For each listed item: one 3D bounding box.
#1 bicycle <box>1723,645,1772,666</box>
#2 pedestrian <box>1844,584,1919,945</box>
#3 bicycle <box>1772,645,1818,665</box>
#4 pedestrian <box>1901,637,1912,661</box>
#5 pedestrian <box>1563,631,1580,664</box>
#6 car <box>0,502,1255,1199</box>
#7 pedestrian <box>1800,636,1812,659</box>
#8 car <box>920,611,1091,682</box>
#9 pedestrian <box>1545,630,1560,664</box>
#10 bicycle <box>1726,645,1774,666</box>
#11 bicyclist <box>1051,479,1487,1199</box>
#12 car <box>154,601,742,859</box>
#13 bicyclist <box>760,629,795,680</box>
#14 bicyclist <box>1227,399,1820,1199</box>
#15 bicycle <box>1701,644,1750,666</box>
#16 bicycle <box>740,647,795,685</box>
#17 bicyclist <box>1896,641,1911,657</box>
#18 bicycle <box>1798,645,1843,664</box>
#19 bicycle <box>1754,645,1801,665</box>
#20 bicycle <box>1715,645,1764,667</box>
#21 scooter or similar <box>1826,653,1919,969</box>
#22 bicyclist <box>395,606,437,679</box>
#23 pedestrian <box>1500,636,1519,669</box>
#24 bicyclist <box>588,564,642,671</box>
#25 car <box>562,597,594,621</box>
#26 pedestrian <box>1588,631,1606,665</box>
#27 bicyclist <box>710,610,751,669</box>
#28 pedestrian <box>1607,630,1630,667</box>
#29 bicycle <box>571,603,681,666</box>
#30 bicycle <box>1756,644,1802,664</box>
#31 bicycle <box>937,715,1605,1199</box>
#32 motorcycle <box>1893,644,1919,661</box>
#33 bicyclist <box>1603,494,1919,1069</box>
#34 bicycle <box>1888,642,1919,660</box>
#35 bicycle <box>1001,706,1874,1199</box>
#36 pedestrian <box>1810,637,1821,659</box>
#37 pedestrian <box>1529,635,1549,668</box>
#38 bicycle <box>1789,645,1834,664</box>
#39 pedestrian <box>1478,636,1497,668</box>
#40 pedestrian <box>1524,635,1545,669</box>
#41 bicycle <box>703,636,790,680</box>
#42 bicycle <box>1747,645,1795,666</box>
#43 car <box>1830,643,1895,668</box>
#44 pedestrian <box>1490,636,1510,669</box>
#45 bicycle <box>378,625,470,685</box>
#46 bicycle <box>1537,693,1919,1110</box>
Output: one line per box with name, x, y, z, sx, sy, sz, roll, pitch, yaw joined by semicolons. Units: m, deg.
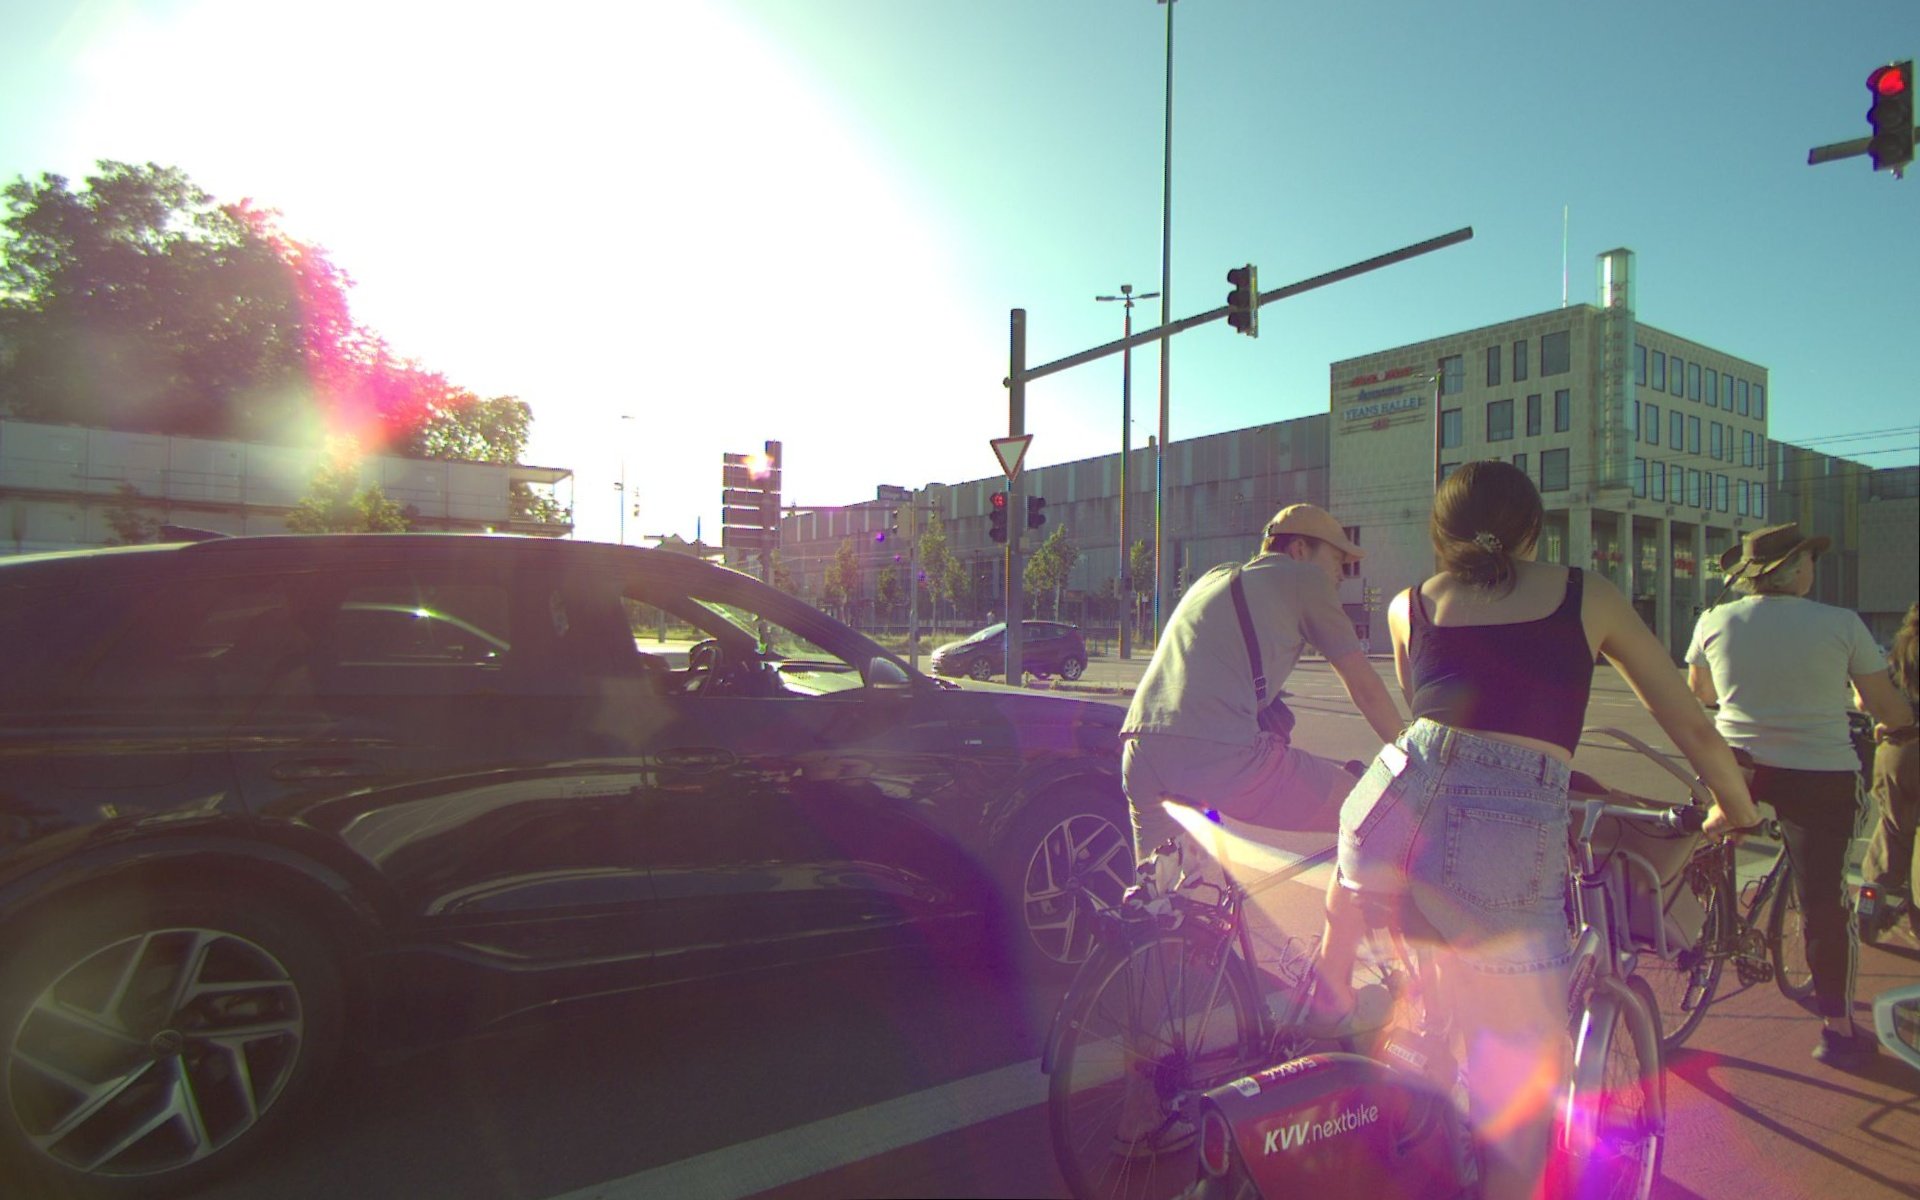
bicycle;48.044;3.372;61.333;0.605;1.238;2.295;1;-1;-31
pedestrian;4.633;0.764;4.800;0.568;1.654;0.543;2;0;-45
bicycle;55.516;3.627;66.825;0.605;1.238;2.295;1;-1;-31
pedestrian;71.094;3.678;75.452;0.579;1.702;0.516;1;1;-43
pedestrian;35.584;2.739;58.447;0.784;1.868;0.862;0;-1;32
car;-1.154;0.635;3.864;4.630;1.656;1.760;1;0;-32
pedestrian;65.323;3.674;77.585;0.610;1.702;0.565;1;0;-39
car;1.127;1.122;24.481;3.845;1.606;1.649;2;-2;-25
pedestrian;34.342;2.703;58.207;0.705;1.910;0.785;2;0;33
bicycle;48.694;3.395;61.955;0.605;1.238;2.295;1;-1;-31
bicyclist;0.803;0.562;2.667;0.833;1.627;0.712;1;0;-32
car;-3.586;0.793;7.489;3.562;1.505;1.485;1;0;-30
bicyclist;-7.547;2.224;41.483;0.985;2.040;1.088;2;0;-40
bicyclist;1.068;0.520;1.928;0.866;1.600;0.638;1;0;-33
bicycle;45.760;3.297;60.078;0.605;1.238;2.295;1;-1;-31
bicycle;-8.092;2.739;42.115;0.962;1.388;2.930;2;0;-40
bicyclist;68.608;3.579;73.054;0.613;1.099;0.511;1;0;24
bicycle;59.820;3.773;69.848;0.605;1.238;2.295;1;-1;-31
bicycle;52.899;3.538;65.014;0.605;1.238;2.295;1;-1;-31
bicycle;46.961;3.335;60.522;0.605;1.238;2.295;1;-1;-31
scooter or similar;4.492;0.928;4.708;1.186;1.311;0.541;2;0;-45
bicyclist;-11.165;0.864;20.621;0.705;1.456;0.493;2;0;-32
pedestrian;33.221;3.175;60.684;0.780;1.910;0.709;2;0;-37
bicyclist;-10.365;0.524;30.173;1.292;3.144;0.835;2;0;-32
car;-32.941;0.744;86.504;1.785;1.908;3.964;2;0;-33
pedestrian;35.870;2.702;56.578;0.784;1.868;0.863;0;-1;28
bicyclist;-8.277;1.406;36.232;1.078;2.040;0.961;2;0;16
pedestrian;37.454;2.750;57.115;0.767;2.040;0.876;2;0;-41
bicycle;-10.067;1.008;30.370;3.047;1.835;0.835;0;1;-32
bicycle;54.278;3.588;66.562;0.605;1.238;2.295;1;-1;-31
bicycle;0.940;0.956;2.764;1.949;1.124;0.643;1;0;-33
motorcycle;70.735;3.914;74.852;0.508;1.223;1.786;1;0;-44
bicyclist;2.869;0.559;3.547;0.856;1.743;0.657;2;0;-30
bicycle;68.723;3.731;73.018;1.776;1.223;0.511;1;0;24
bicycle;0.991;0.883;1.886;1.811;1.234;0.612;1;0;-33
pedestrian;65.741;3.678;77.193;0.602;1.702;0.549;1;0;-40
pedestrian;34.404;3.053;59.684;0.710;1.910;0.779;2;0;-36
bicycle;58.849;3.742;69.424;0.605;1.238;2.295;1;-1;-31
pedestrian;32.313;3.151;61.525;0.710;1.910;0.779;2;0;-36
pedestrian;33.394;3.016;58.371;0.710;1.910;0.779;2;0;-36
bicycle;-7.663;2.060;36.055;2.905;1.388;0.970;2;0;16
bicycle;51.274;3.482;63.546;0.605;1.238;2.295;1;-1;-31
car;49.781;3.070;55.405;3.956;1.359;1.621;2;-4;-32
pedestrian;32.159;3.138;59.862;0.710;1.910;0.779;2;0;-36
bicycle;-11.045;1.129;20.715;1.632;1.170;0.493;2;0;-32
bicycle;2.879;0.964;3.673;1.810;1.171;0.482;2;0;-31
